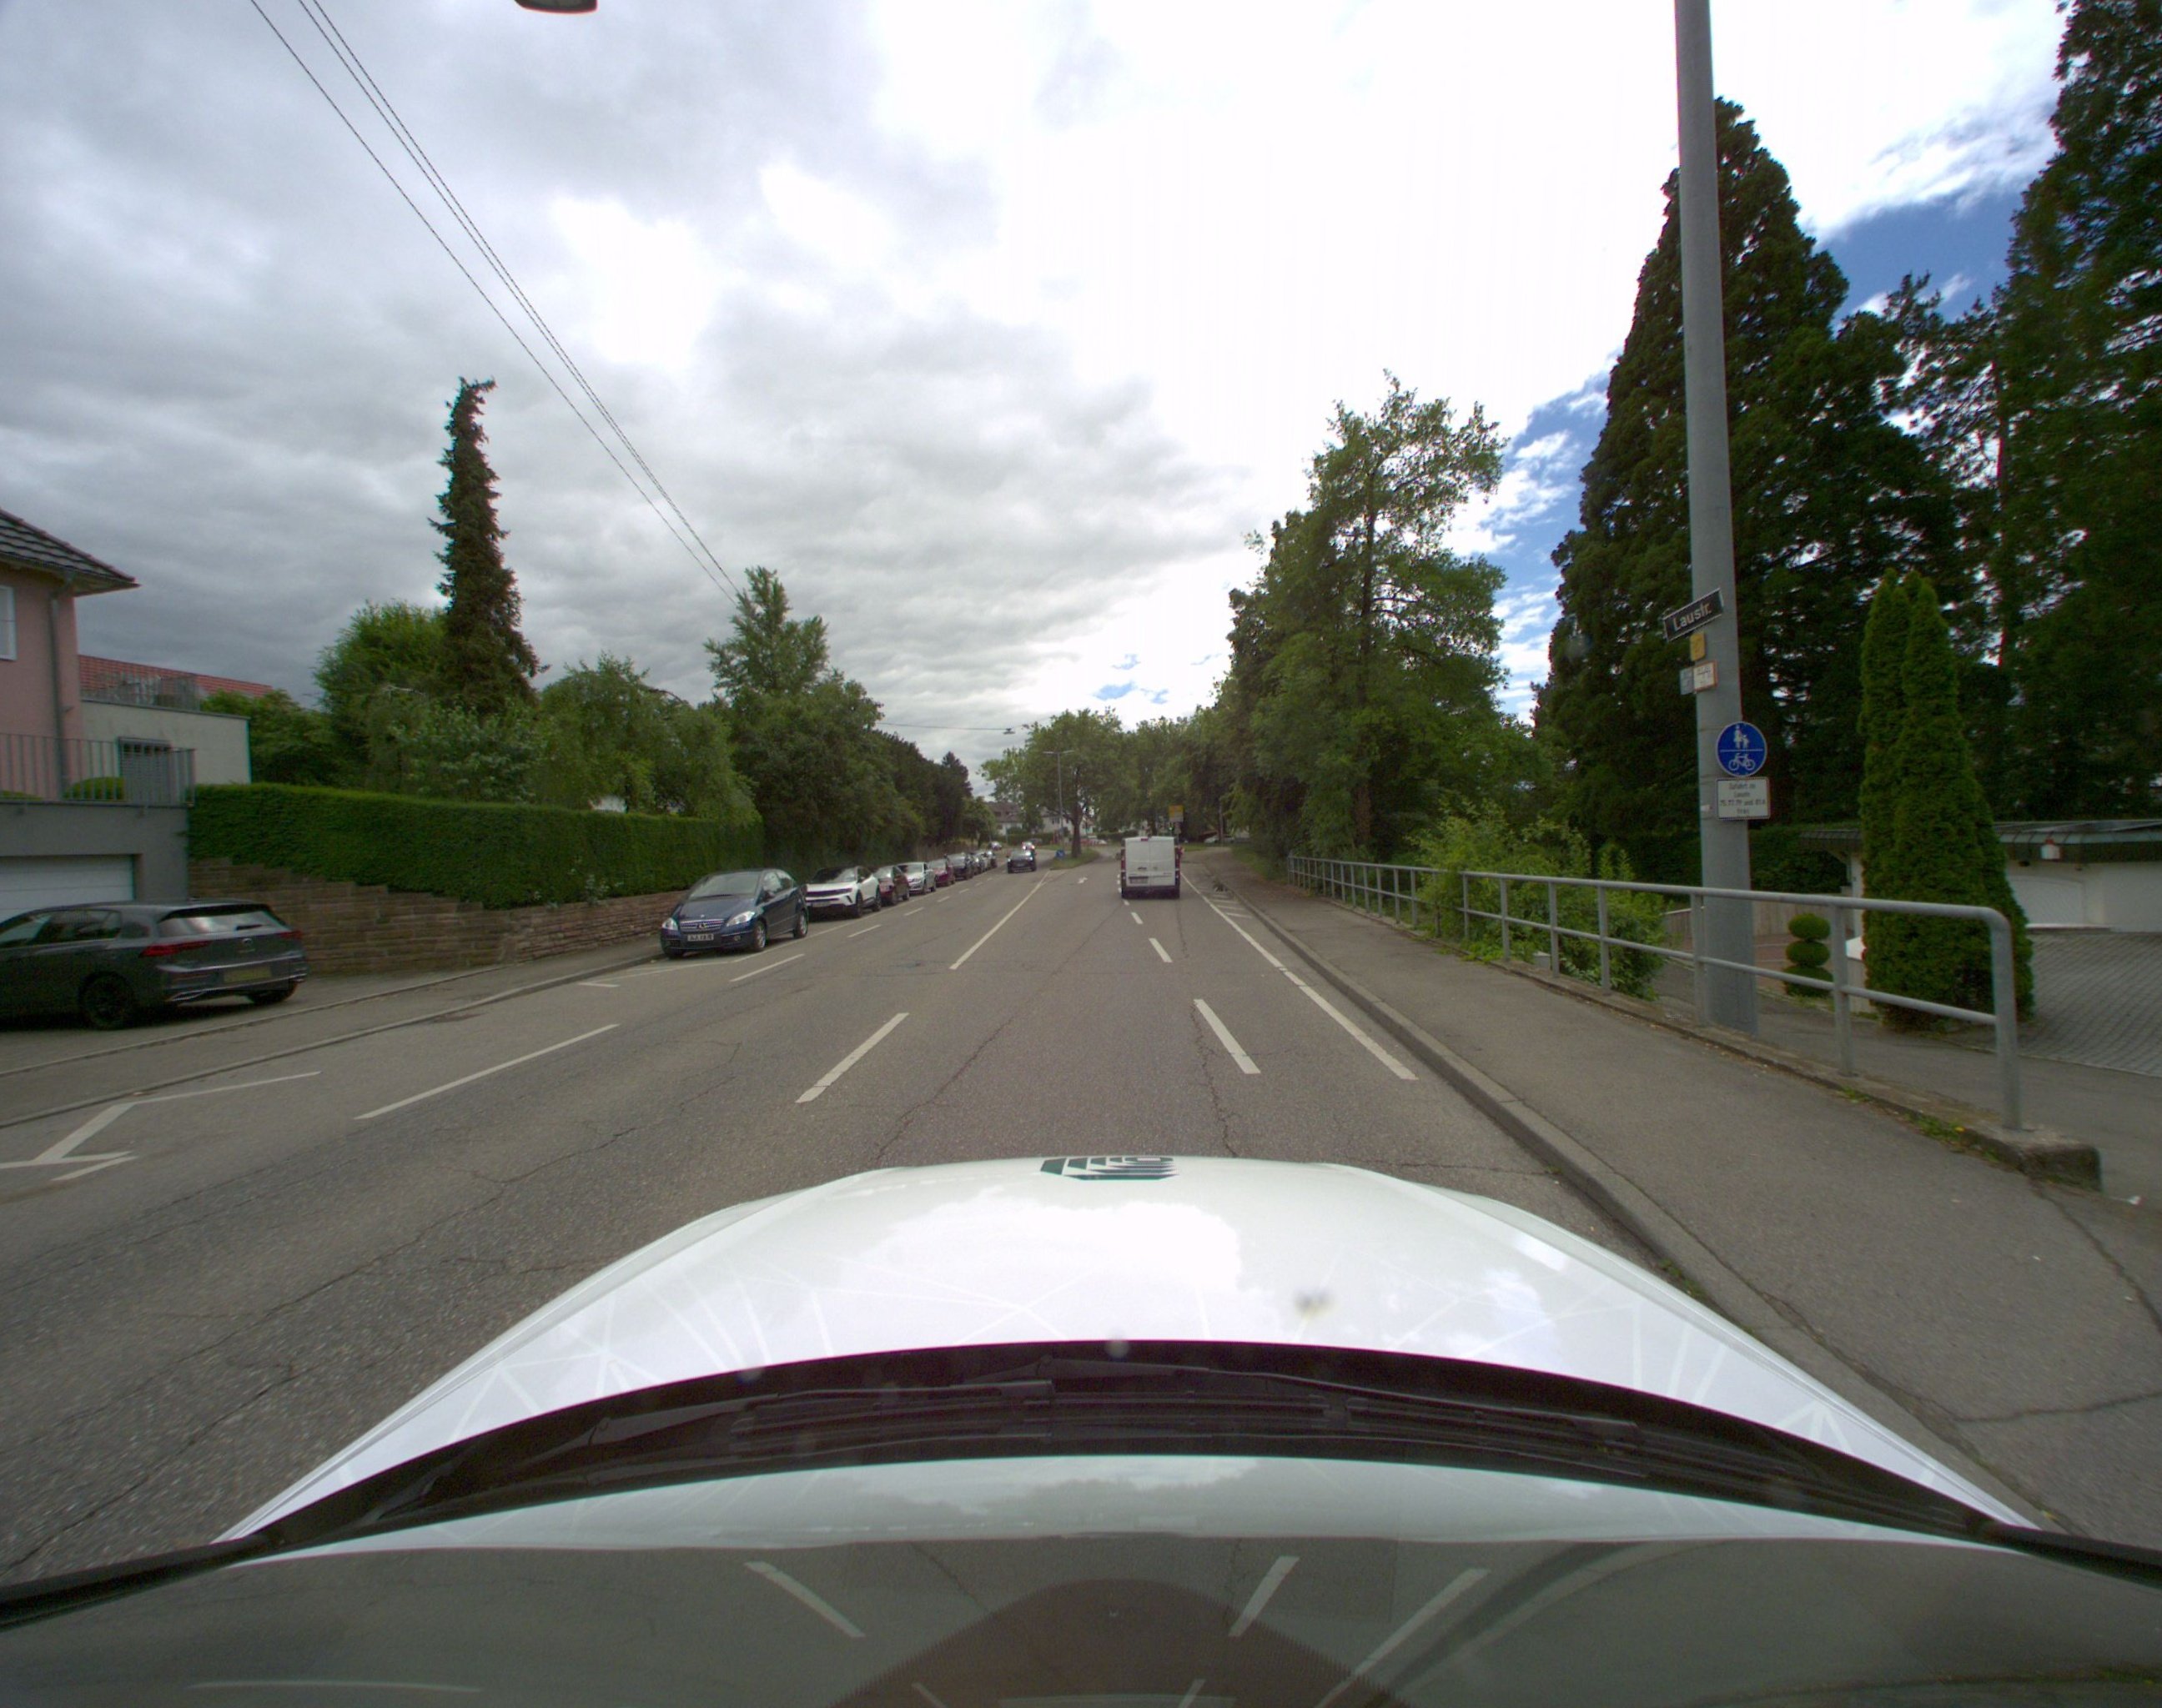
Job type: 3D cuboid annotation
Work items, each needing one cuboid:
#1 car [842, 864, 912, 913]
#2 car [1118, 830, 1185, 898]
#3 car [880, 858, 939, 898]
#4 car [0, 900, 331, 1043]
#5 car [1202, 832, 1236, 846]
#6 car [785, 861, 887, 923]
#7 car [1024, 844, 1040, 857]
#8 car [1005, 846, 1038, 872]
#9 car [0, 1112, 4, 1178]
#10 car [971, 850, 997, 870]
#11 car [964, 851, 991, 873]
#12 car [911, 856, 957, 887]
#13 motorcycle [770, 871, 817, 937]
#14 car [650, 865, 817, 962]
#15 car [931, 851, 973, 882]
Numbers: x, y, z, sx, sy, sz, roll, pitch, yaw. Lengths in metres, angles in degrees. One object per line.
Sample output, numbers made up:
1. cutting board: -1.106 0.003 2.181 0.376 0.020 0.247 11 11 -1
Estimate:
1. car: -7.419 1.205 29.951 1.665 1.478 3.907 -4 1 -3
2. car: 2.268 0.283 27.253 1.998 2.038 5.013 -1 0 2
3. car: -7.547 1.003 36.270 1.665 1.488 4.428 -4 0 -1
4. car: -11.912 1.417 10.126 3.569 1.390 1.853 -3 0 7
5. car: 20.295 -2.230 119.606 4.760 1.769 1.980 -3 1 -31
6. car: -7.242 1.067 24.533 1.885 1.494 4.023 -5 1 -3
7. car: -6.820 -0.528 113.736 1.992 1.587 3.995 -4 0 -1
8. car: -4.107 0.306 56.864 1.836 1.647 4.214 -3 0 1
9. car: -6.512 1.040 2.028 1.805 1.455 4.409 -4 0 -3
10. car: -8.500 0.509 71.792 1.884 1.625 4.426 -3 0 -3
11. car: -8.400 0.626 66.451 1.668 1.592 4.094 -5 1 -1
12. car: -7.724 0.892 43.070 1.775 1.438 3.996 -4 1 -3
13. motorcycle: -7.073 1.183 20.119 0.888 1.355 2.293 -5 2 -17
14. car: -6.883 1.094 16.621 1.674 1.556 3.968 -5 0 -2
15. car: -7.812 0.704 49.758 1.989 1.643 4.462 -4 1 -3
